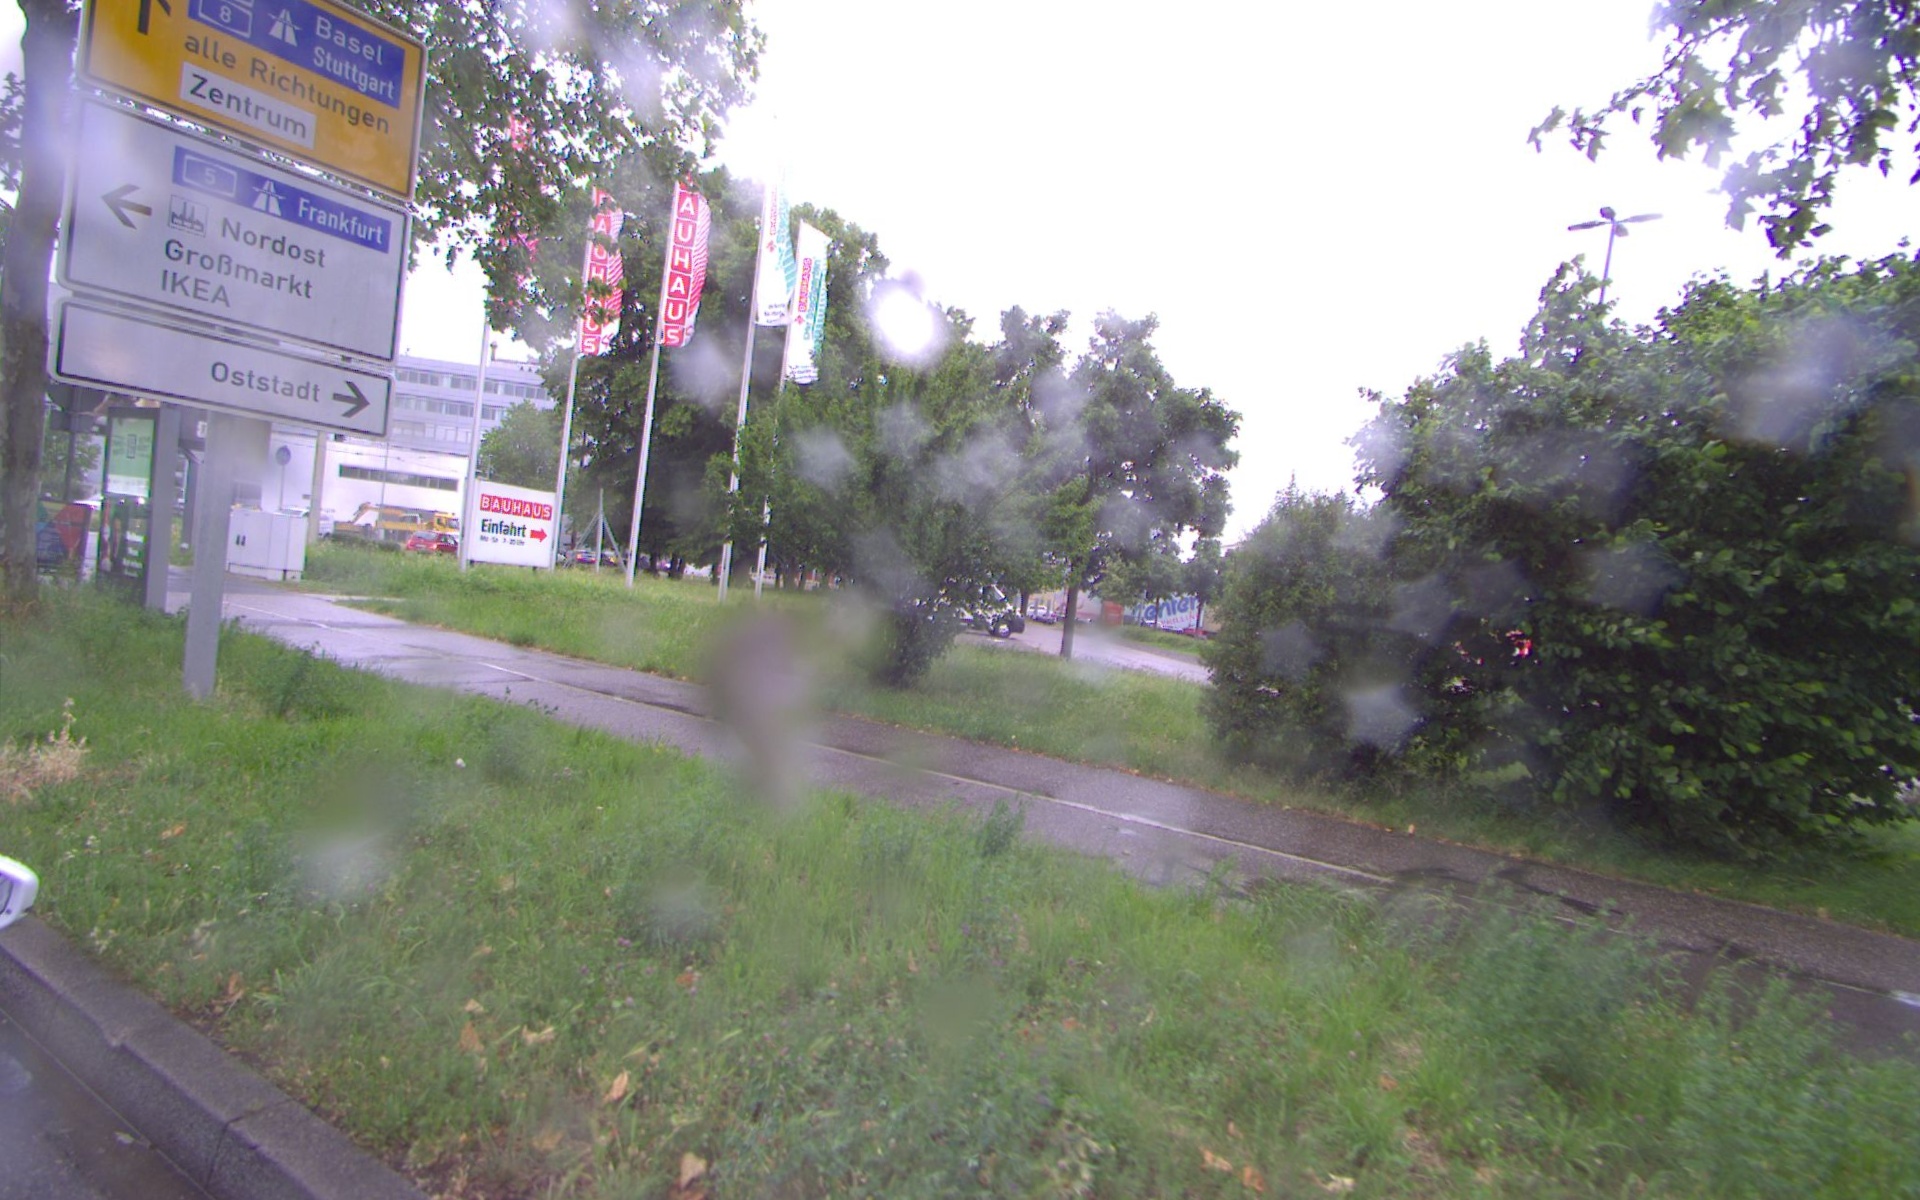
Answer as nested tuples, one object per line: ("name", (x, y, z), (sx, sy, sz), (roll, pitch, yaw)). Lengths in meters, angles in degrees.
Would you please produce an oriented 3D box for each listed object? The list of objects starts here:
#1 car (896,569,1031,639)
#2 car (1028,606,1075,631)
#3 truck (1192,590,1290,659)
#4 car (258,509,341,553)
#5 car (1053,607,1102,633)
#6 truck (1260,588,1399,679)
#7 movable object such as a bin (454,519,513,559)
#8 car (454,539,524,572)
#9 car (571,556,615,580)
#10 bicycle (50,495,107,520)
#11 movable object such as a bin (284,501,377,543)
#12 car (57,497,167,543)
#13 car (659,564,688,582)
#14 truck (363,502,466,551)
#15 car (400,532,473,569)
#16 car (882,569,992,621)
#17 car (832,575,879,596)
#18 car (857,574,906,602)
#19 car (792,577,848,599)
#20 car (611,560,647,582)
("car", (0.099, 0.164, 40.860), (5.015, 2.232, 2.188), (6, 1, -9))
("car", (9.708, 1.960, 107.059), (4.612, 2.038, 2.001), (7, -1, 3))
("truck", (16.582, 1.390, 60.236), (2.507, 3.511, 9.397), (8, -1, -2))
("car", (-39.297, -4.057, 59.993), (1.964, 2.152, 4.684), (6, 0, -5))
("car", (11.879, 1.994, 101.727), (4.612, 2.038, 2.001), (7, -1, 3))
("truck", (16.769, 1.366, 46.370), (2.507, 3.513, 8.008), (8, 0, -4))
("movable object such as a bin", (-50.169, -6.330, 106.113), (3.268, 3.552, 6.316), (6, 1, -3))
("car", (-27.831, -2.595, 59.607), (1.892, 1.509, 4.828), (6, 0, -2))
("car", (-29.255, -2.498, 80.298), (1.892, 1.606, 4.622), (6, 0, -3))
("bicycle", (-49.126, -5.127, 56.085), (2.294, 1.059, 0.840), (6, 1, -39))
("movable object such as a bin", (-60.576, -7.512, 96.969), (6.601, 3.034, 3.325), (6, 1, -4))
("car", (-45.247, -4.219, 53.794), (1.708, 1.746, 4.248), (7, -1, 11))
("car", (-30.599, -2.868, 107.565), (1.892, 1.606, 4.623), (6, 0, -4))
("truck", (-52.661, -7.055, 97.294), (7.747, 3.552, 3.325), (6, 1, -4))
("car", (-27.213, -2.543, 52.416), (1.647, 1.508, 3.818), (7, -1, 1))
("car", (-1.336, -0.290, 57.607), (5.955, 2.232, 2.190), (7, 1, -2))
("car", (-10.760, -1.486, 103.530), (4.546, 1.606, 1.924), (6, 0, -9))
("car", (-7.824, -1.221, 100.558), (4.670, 2.241, 1.964), (6, 1, -2))
("car", (-15.388, -1.312, 111.032), (5.853, 1.753, 2.276), (6, 1, -3))
("car", (-29.693, -2.573, 90.444), (1.893, 1.606, 4.622), (6, 0, -4))
